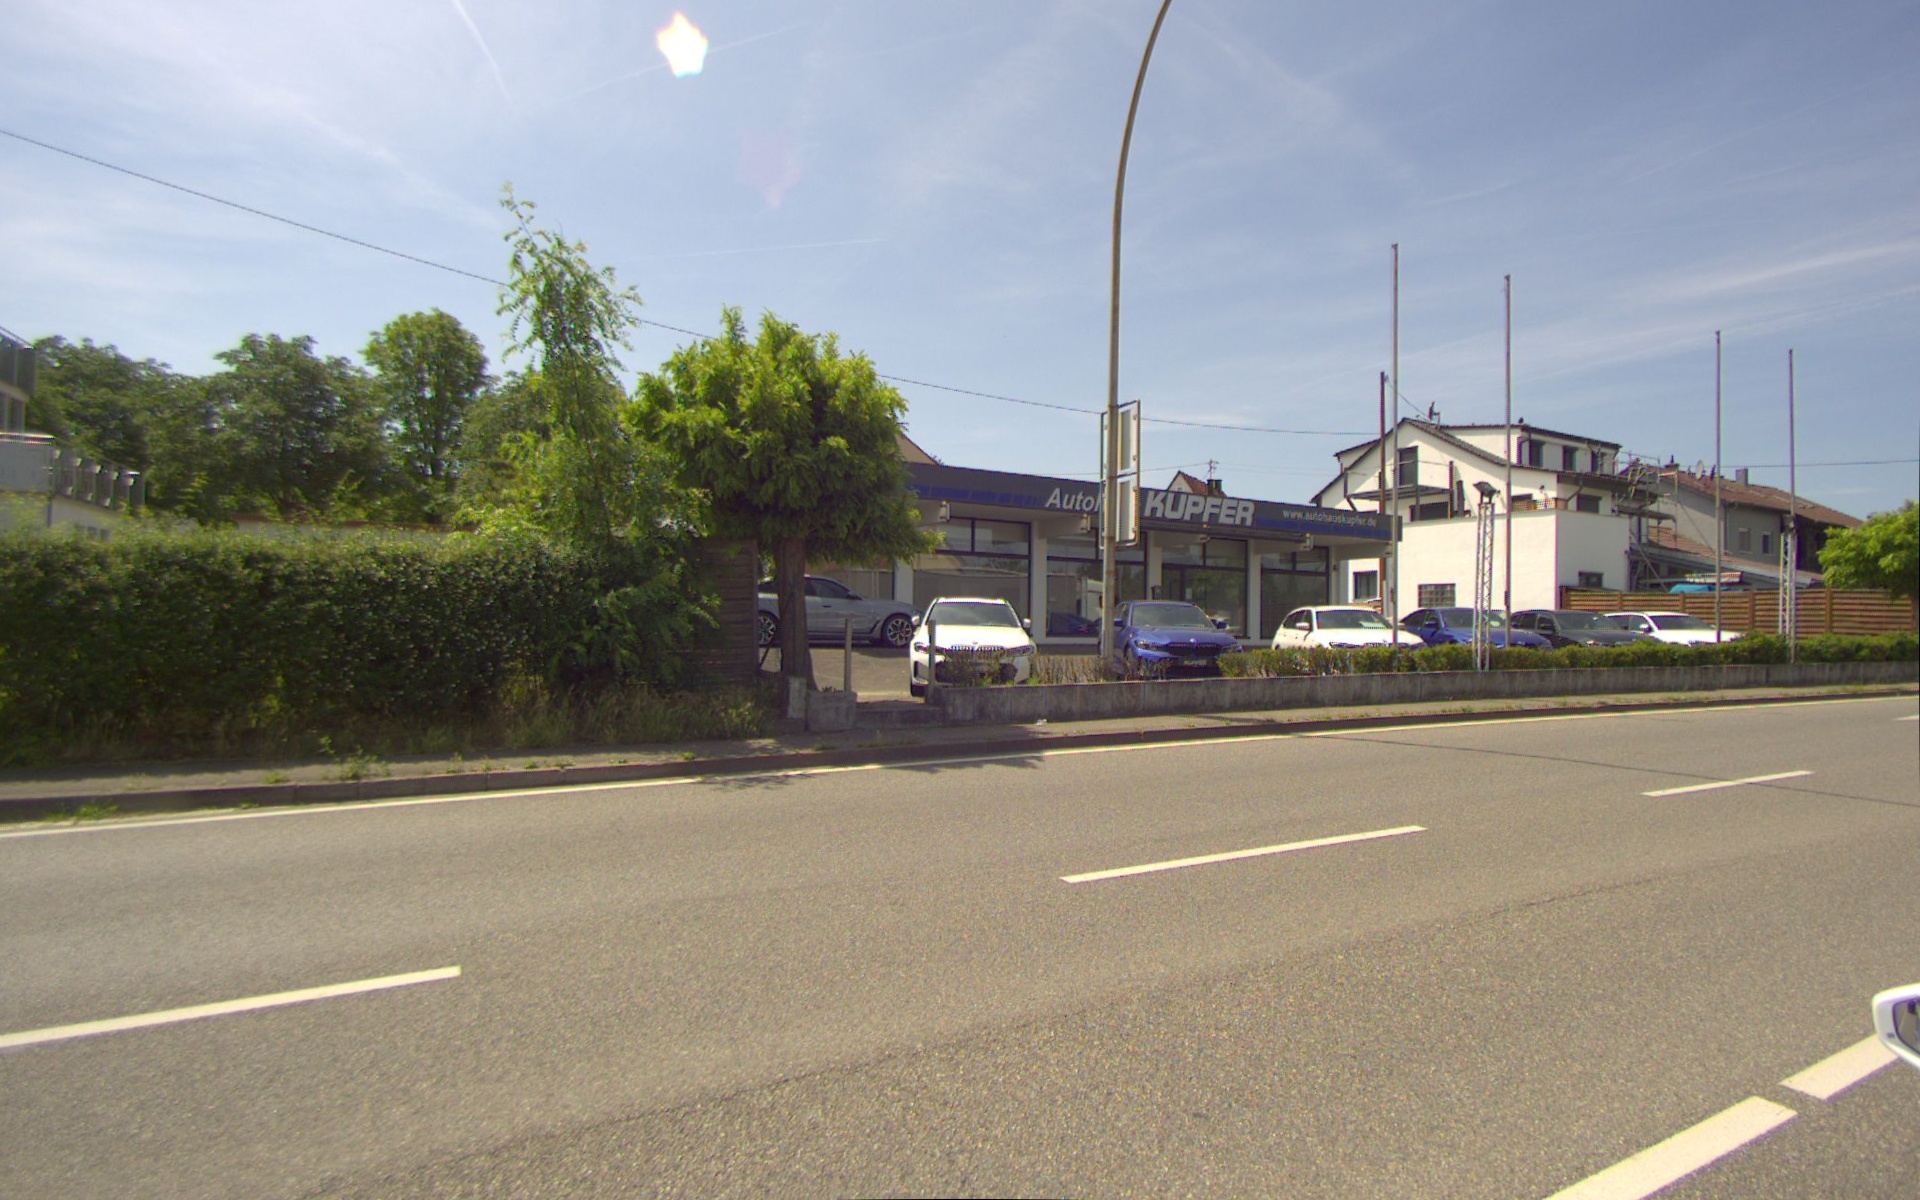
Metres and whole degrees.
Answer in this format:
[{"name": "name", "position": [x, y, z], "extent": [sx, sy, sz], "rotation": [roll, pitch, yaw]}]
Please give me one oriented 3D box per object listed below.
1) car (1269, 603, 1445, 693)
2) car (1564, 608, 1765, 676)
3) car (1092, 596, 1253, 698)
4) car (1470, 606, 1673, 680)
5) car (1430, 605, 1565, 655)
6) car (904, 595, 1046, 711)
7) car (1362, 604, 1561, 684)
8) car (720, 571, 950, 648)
[{"name": "car", "position": [7.487, 0.826, 19.451], "extent": [1.820, 1.467, 4.517], "rotation": [1, 0, 3]}, {"name": "car", "position": [17.579, 0.982, 25.372], "extent": [1.821, 1.467, 4.340], "rotation": [2, 0, -4]}, {"name": "car", "position": [3.508, 0.713, 17.384], "extent": [1.820, 1.467, 4.342], "rotation": [2, 0, 0]}, {"name": "car", "position": [14.098, 0.930, 23.499], "extent": [1.862, 1.467, 4.340], "rotation": [2, 0, -4]}, {"name": "car", "position": [18.209, 0.988, 34.247], "extent": [1.804, 1.530, 3.987], "rotation": [1, 0, -15]}, {"name": "car", "position": [0.198, 0.703, 15.561], "extent": [1.820, 1.467, 4.580], "rotation": [2, 0, 0]}, {"name": "car", "position": [10.700, 0.880, 21.834], "extent": [1.822, 1.467, 4.339], "rotation": [2, 0, -5]}, {"name": "car", "position": [-2.634, 0.209, 21.086], "extent": [4.511, 1.484, 1.802], "rotation": [1, 1, -20]}]
